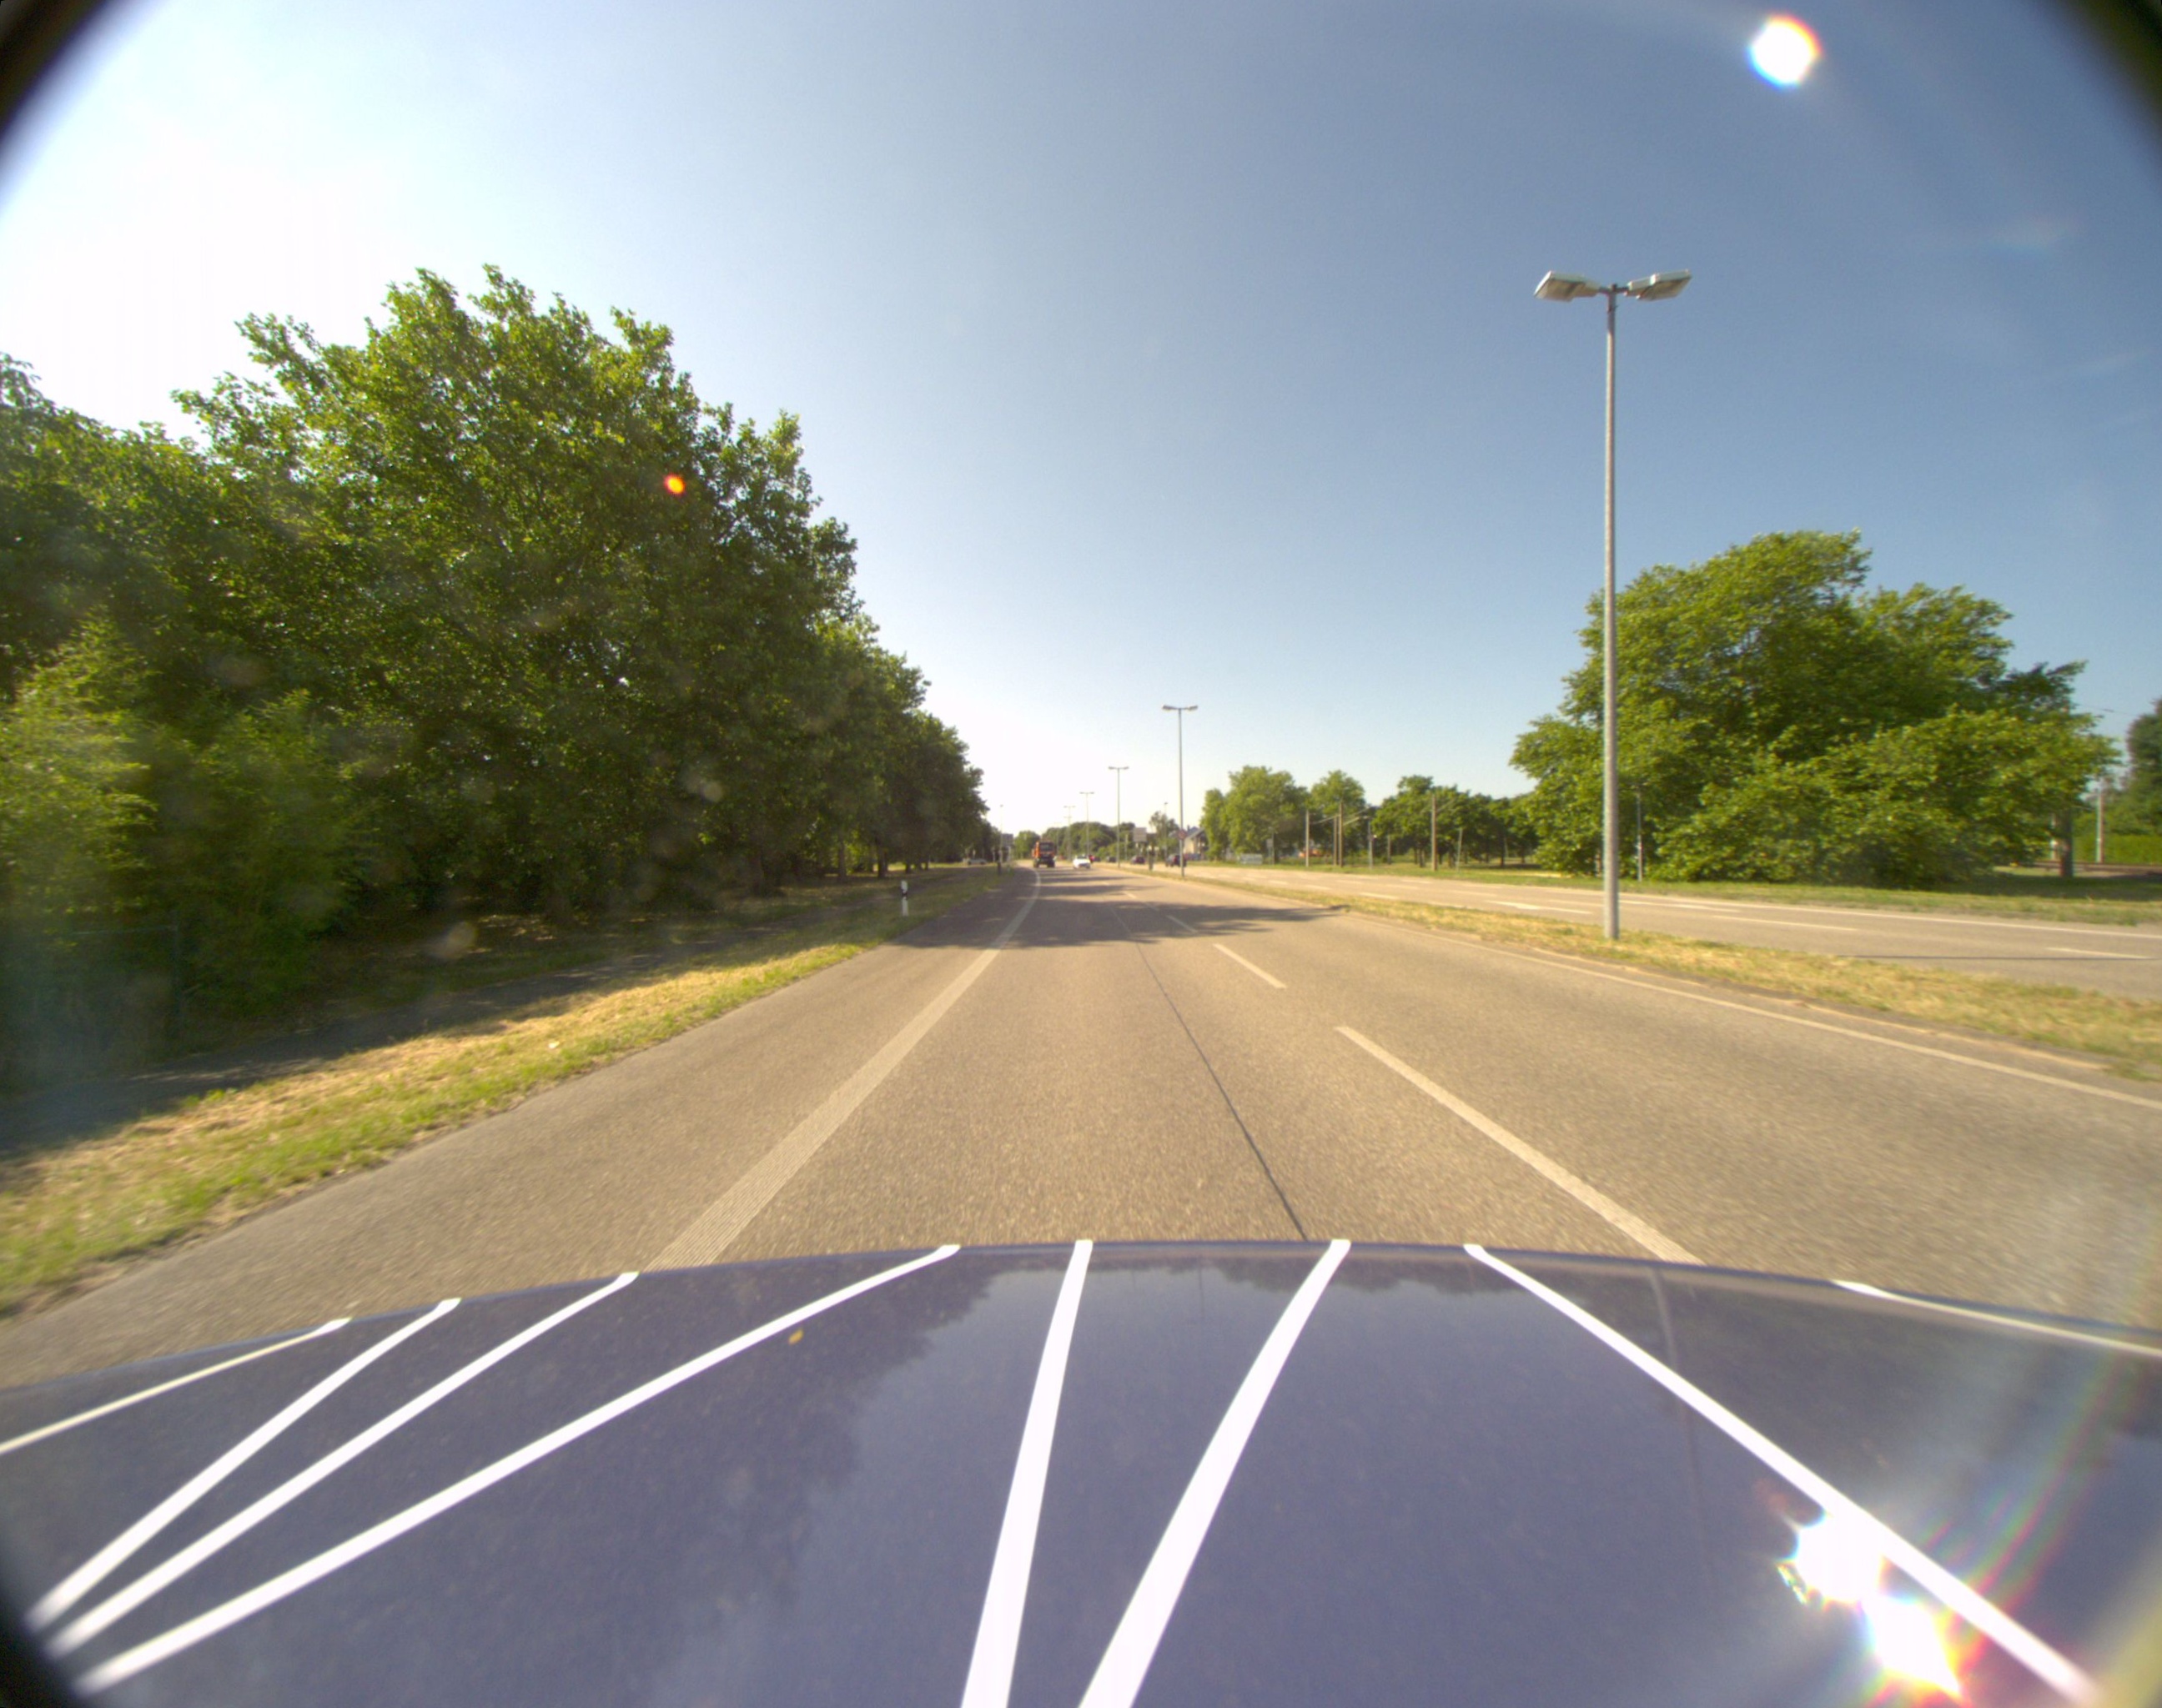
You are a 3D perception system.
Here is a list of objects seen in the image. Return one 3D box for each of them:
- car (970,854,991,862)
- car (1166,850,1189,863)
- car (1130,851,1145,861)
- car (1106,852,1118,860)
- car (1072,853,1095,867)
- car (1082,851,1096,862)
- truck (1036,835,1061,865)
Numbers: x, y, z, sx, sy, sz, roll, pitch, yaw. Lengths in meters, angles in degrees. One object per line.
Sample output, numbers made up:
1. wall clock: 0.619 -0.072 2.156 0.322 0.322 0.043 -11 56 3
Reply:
1. car: -19.890 0.825 149.994 4.064 1.555 1.742 -1 1 -6
2. car: 12.113 0.305 95.344 1.988 1.650 4.553 -1 0 -5
3. car: 9.166 0.308 122.889 1.836 1.457 4.467 -1 0 -3
4. car: 6.278 0.342 153.820 1.868 1.536 4.403 0 0 -6
5. car: 0.256 0.615 85.959 1.870 1.499 4.332 -1 0 -10
6. car: 1.351 0.395 131.411 1.987 1.740 4.505 -1 0 -5
7. truck: -4.397 -0.530 101.113 2.942 3.852 6.587 -1 0 -5
